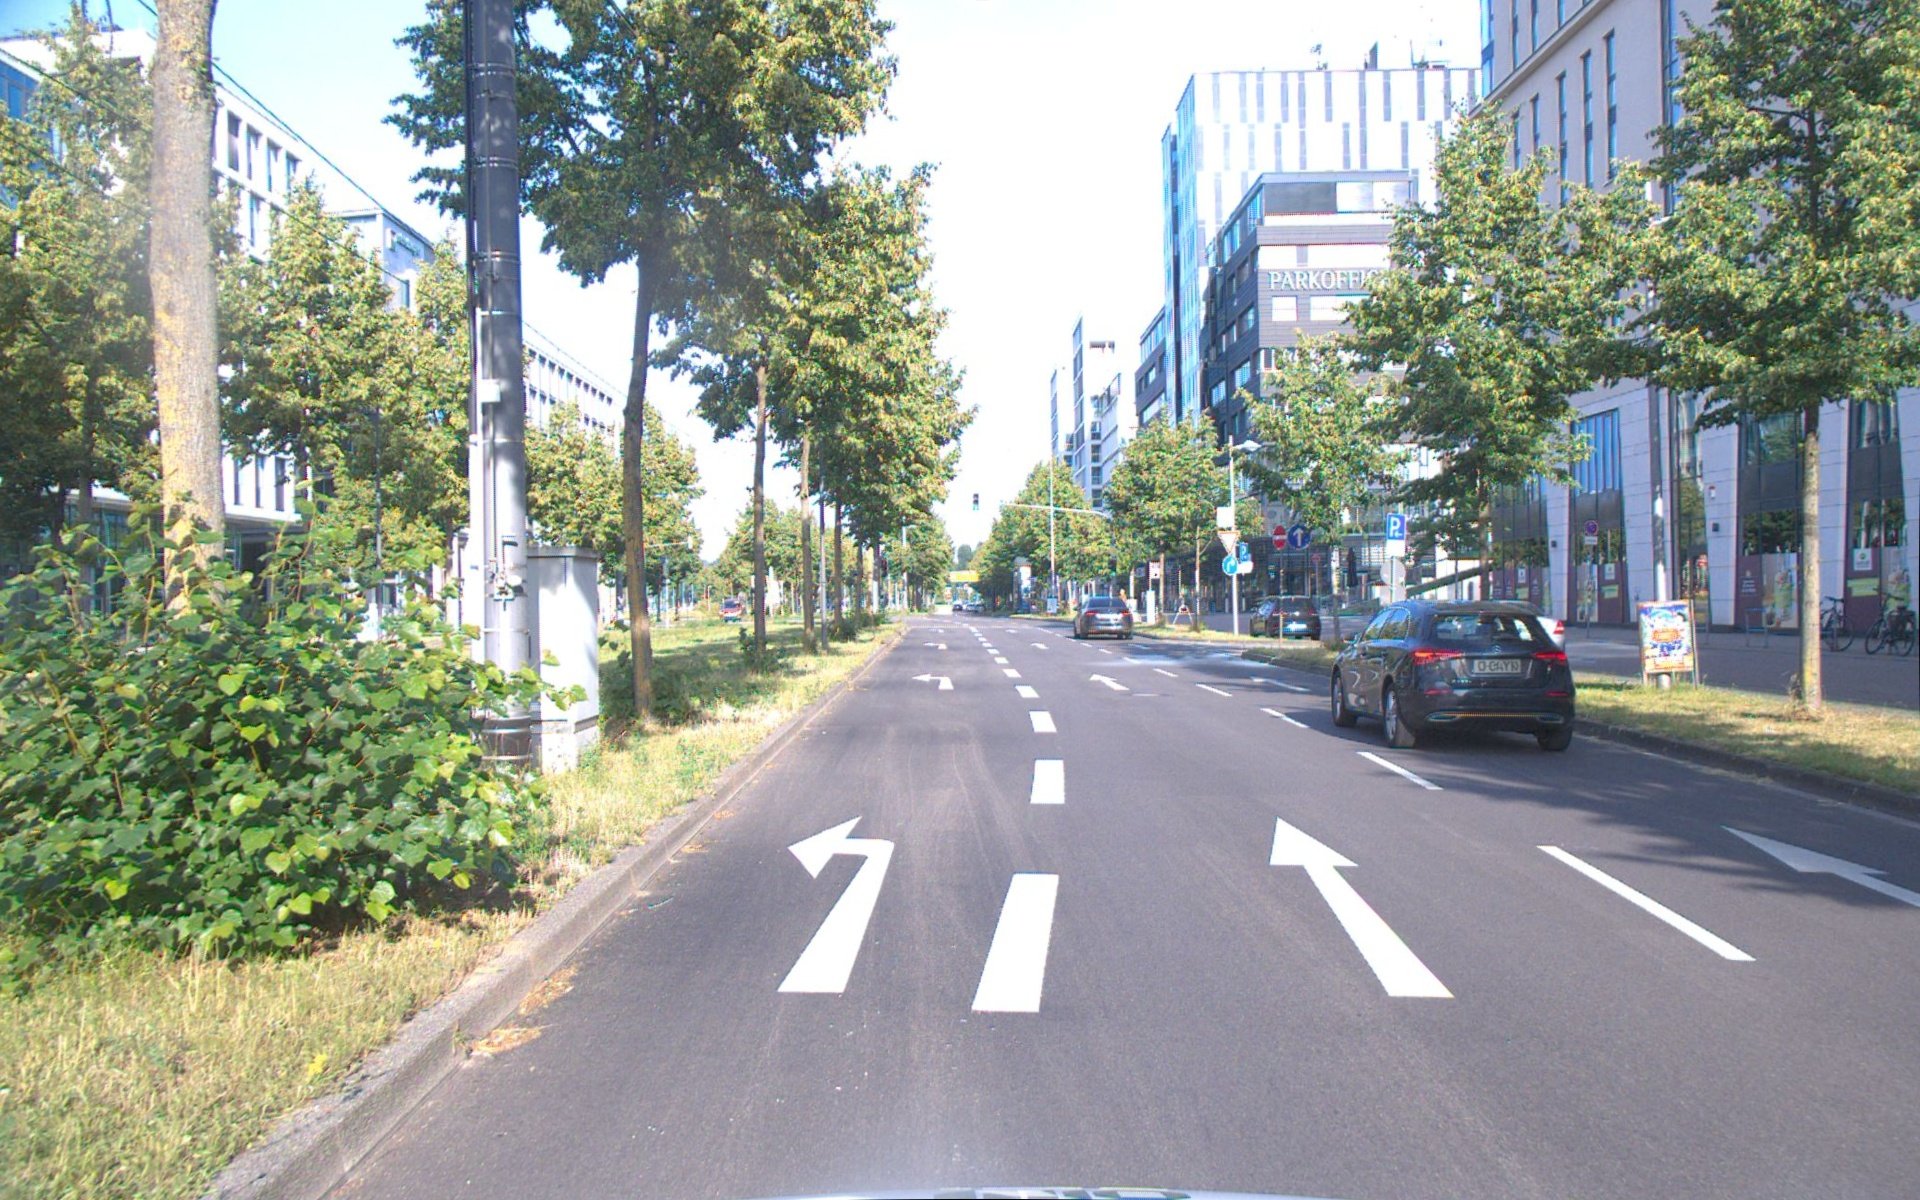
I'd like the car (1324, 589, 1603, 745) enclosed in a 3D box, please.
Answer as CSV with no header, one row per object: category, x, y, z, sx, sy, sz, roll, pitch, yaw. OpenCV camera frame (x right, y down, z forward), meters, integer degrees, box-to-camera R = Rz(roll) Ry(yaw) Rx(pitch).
car,5.156,0.647,17.477,1.738,1.449,3.960,1,-1,0

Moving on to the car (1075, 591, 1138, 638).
car,5.013,0.511,56.957,1.822,1.551,3.785,1,-1,0

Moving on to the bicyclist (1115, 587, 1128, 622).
bicyclist,7.916,0.225,81.047,0.563,1.737,0.540,1,-1,-5

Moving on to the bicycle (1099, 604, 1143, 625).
bicycle,7.888,0.709,81.031,2.092,1.030,0.571,1,-1,-5

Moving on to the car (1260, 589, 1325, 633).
car,10.906,0.374,54.480,1.573,1.394,4.159,0,-1,4

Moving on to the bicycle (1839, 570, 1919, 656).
bicycle,17.768,0.253,31.798,0.544,1.595,2.212,1,-1,0

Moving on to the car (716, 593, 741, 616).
car,-17.979,0.356,128.542,1.651,1.806,3.879,1,-1,-4

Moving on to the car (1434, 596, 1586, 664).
car,10.957,0.580,33.229,1.673,1.264,3.904,1,-1,-2

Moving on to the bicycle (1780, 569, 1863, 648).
bicycle,17.929,0.184,34.473,0.544,1.598,2.276,1,-1,0
